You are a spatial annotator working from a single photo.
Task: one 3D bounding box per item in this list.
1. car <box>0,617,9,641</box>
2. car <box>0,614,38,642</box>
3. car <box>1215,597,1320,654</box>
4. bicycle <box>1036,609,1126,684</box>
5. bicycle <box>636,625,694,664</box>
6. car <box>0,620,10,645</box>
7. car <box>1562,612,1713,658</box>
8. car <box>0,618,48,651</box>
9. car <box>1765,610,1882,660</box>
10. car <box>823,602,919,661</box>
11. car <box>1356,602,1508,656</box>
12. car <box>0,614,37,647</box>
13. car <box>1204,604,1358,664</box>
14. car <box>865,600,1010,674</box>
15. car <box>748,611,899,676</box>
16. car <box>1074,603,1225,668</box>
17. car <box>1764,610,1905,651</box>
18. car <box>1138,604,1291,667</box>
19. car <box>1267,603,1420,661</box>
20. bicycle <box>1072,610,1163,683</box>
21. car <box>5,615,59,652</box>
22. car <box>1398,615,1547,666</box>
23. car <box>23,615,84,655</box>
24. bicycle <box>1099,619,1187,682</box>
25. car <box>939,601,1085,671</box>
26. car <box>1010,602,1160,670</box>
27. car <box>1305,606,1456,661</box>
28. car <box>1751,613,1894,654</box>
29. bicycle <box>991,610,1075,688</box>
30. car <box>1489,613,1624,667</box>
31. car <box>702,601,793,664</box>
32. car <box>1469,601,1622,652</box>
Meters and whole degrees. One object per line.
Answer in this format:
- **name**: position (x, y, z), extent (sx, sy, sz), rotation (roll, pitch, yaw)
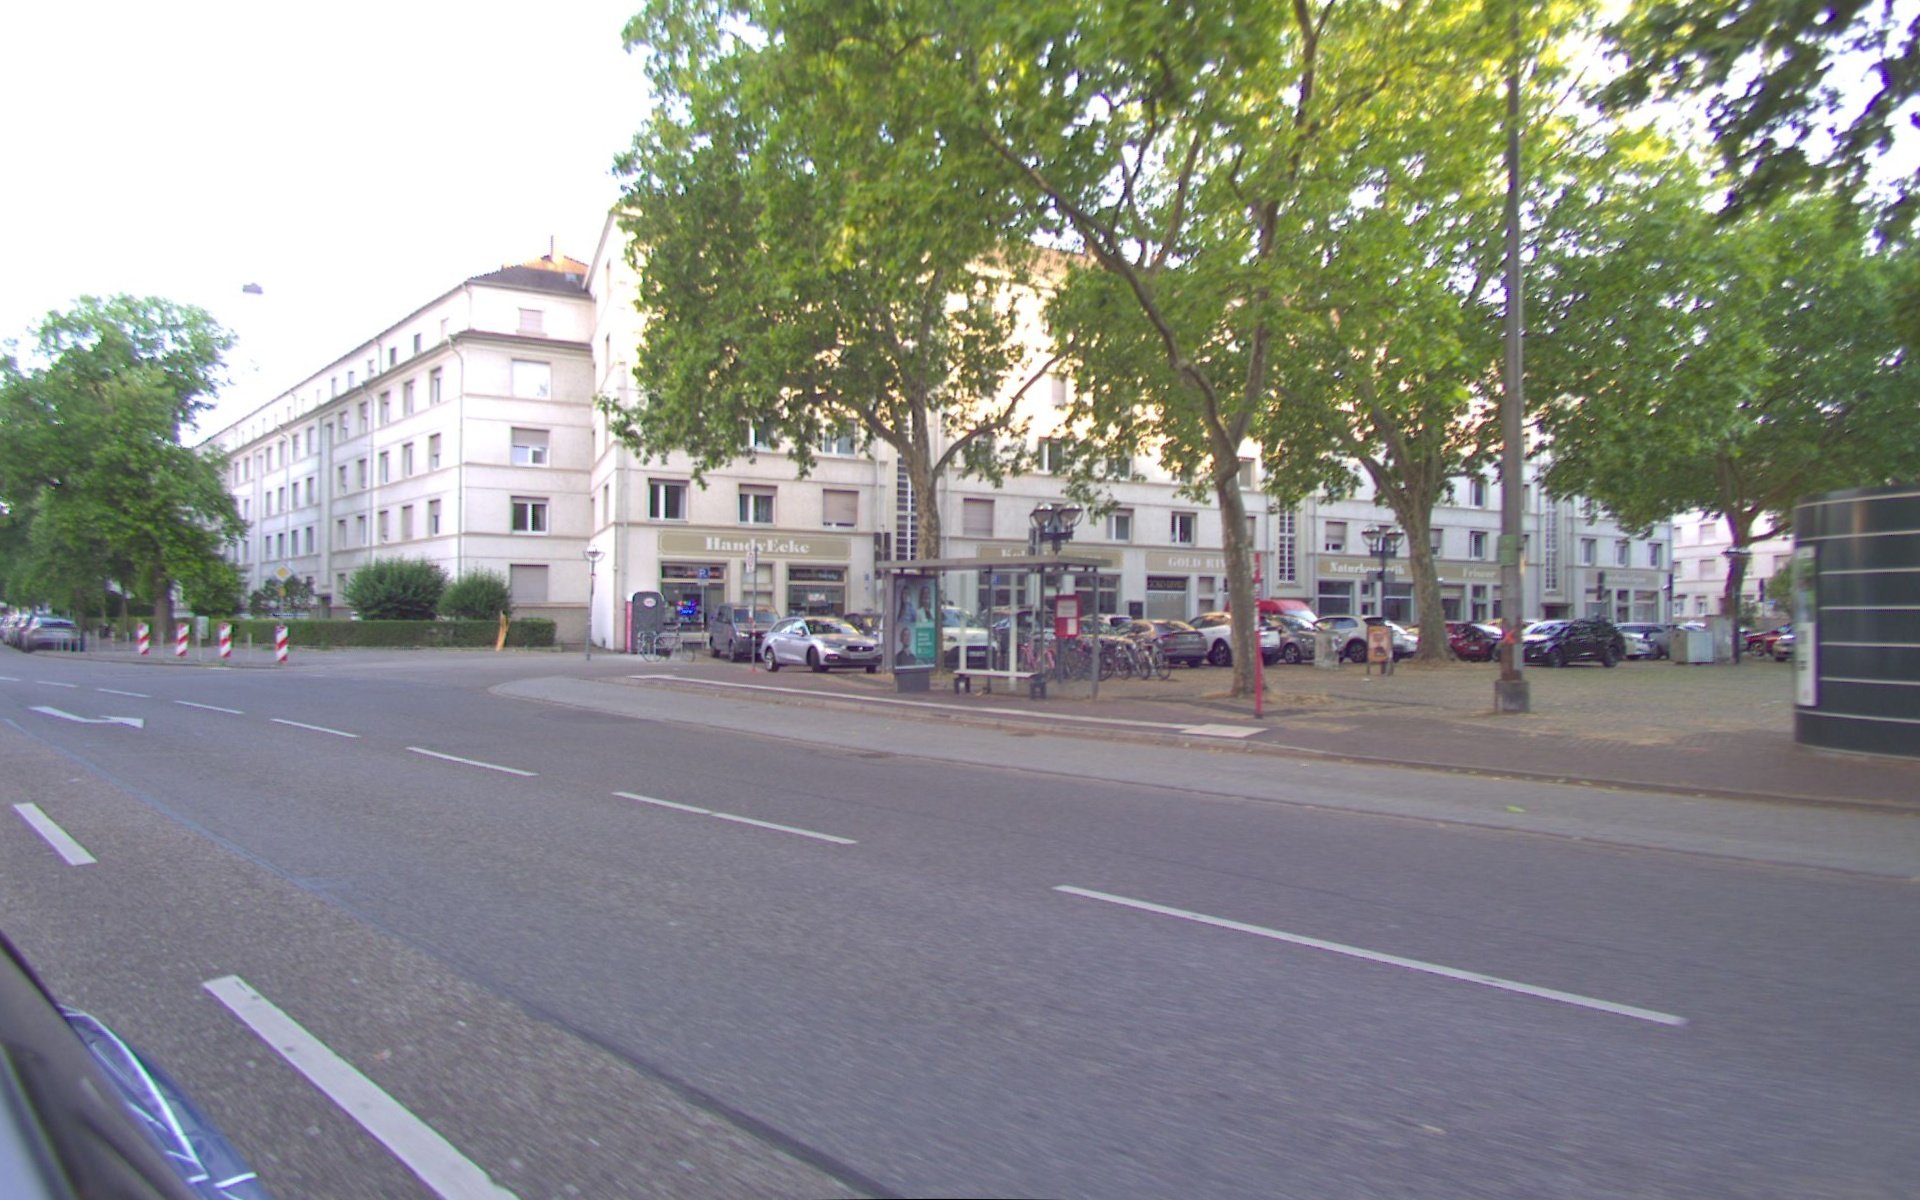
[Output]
- **car**: position (-78.564, 2.338, 82.223), extent (1.866, 1.879, 4.263), rotation (0, 0, -44)
- **car**: position (-58.945, 1.726, 63.249), extent (1.866, 1.612, 4.263), rotation (0, 0, -44)
- **car**: position (14.292, 1.158, 47.331), extent (1.965, 2.460, 4.656), rotation (2, 0, -26)
- **bicycle**: position (2.797, 1.046, 23.833), extent (0.795, 1.626, 2.754), rotation (0, 0, -24)
- **bicycle**: position (-9.580, 1.423, 32.893), extent (1.776, 1.215, 0.649), rotation (0, 0, -16)
- **car**: position (-74.052, 2.489, 77.521), extent (1.866, 1.840, 4.263), rotation (0, 0, -44)
- **car**: position (27.416, 1.470, 41.131), extent (1.965, 1.748, 4.655), rotation (2, -3, -28)
- **car**: position (-50.880, 1.841, 55.002), extent (1.866, 1.612, 4.263), rotation (0, 0, -44)
- **car**: position (30.679, 1.207, 35.975), extent (3.696, 1.674, 1.680), rotation (0, 0, -23)
- **car**: position (-3.381, 1.110, 37.627), extent (1.965, 1.970, 4.656), rotation (2, 0, -26)
- **car**: position (16.788, 1.084, 36.248), extent (1.965, 1.795, 4.655), rotation (2, -3, -28)
- **car**: position (-55.204, 1.736, 59.099), extent (1.866, 1.787, 4.263), rotation (0, 0, -44)
- **car**: position (10.193, 1.131, 32.538), extent (1.965, 1.795, 4.655), rotation (2, -3, -28)
- **car**: position (-0.707, 1.011, 26.963), extent (1.965, 1.795, 4.655), rotation (2, -3, -28)
- **car**: position (-3.625, 1.126, 26.104), extent (1.967, 1.515, 4.652), rotation (2, -4, -34)
- **car**: position (5.559, 1.098, 30.385), extent (1.965, 1.795, 4.655), rotation (2, -3, -28)
- **car**: position (40.935, 1.460, 47.474), extent (1.968, 1.824, 4.658), rotation (3, -4, -38)
- **car**: position (7.758, 1.126, 31.327), extent (1.965, 1.795, 4.655), rotation (2, -3, -28)
- **car**: position (12.770, 1.130, 34.029), extent (1.965, 1.795, 4.655), rotation (2, -3, -28)
- **bicycle**: position (3.738, 1.071, 24.346), extent (0.795, 1.626, 2.754), rotation (0, 0, -24)
- **car**: position (-45.690, 1.603, 49.809), extent (1.866, 1.703, 4.263), rotation (0, 0, -44)
- **car**: position (18.973, 1.529, 37.699), extent (1.965, 1.748, 4.655), rotation (2, -3, -28)
- **car**: position (-39.818, 1.489, 44.428), extent (1.866, 1.612, 4.003), rotation (0, 0, -44)
- **bicycle**: position (4.450, 1.196, 24.857), extent (0.680, 1.394, 2.754), rotation (0, 0, -24)
- **car**: position (1.342, 1.045, 28.414), extent (1.965, 1.795, 4.655), rotation (2, -3, -28)
- **car**: position (3.501, 1.084, 29.310), extent (1.965, 1.795, 4.655), rotation (2, -3, -28)
- **car**: position (14.616, 1.203, 35.443), extent (1.965, 1.795, 4.655), rotation (2, -3, -28)
- **car**: position (39.192, 1.572, 46.069), extent (1.968, 1.748, 4.648), rotation (3, -4, -40)
- **bicycle**: position (1.615, 1.050, 22.910), extent (0.680, 1.626, 2.754), rotation (0, 0, -24)
- **car**: position (18.337, 1.211, 31.114), extent (3.696, 1.540, 1.680), rotation (1, 0, -23)
- **car**: position (-7.490, 1.082, 35.297), extent (1.965, 1.970, 4.656), rotation (2, 0, -26)
- **car**: position (22.356, 1.077, 38.870), extent (2.057, 1.795, 4.655), rotation (2, -3, -28)
